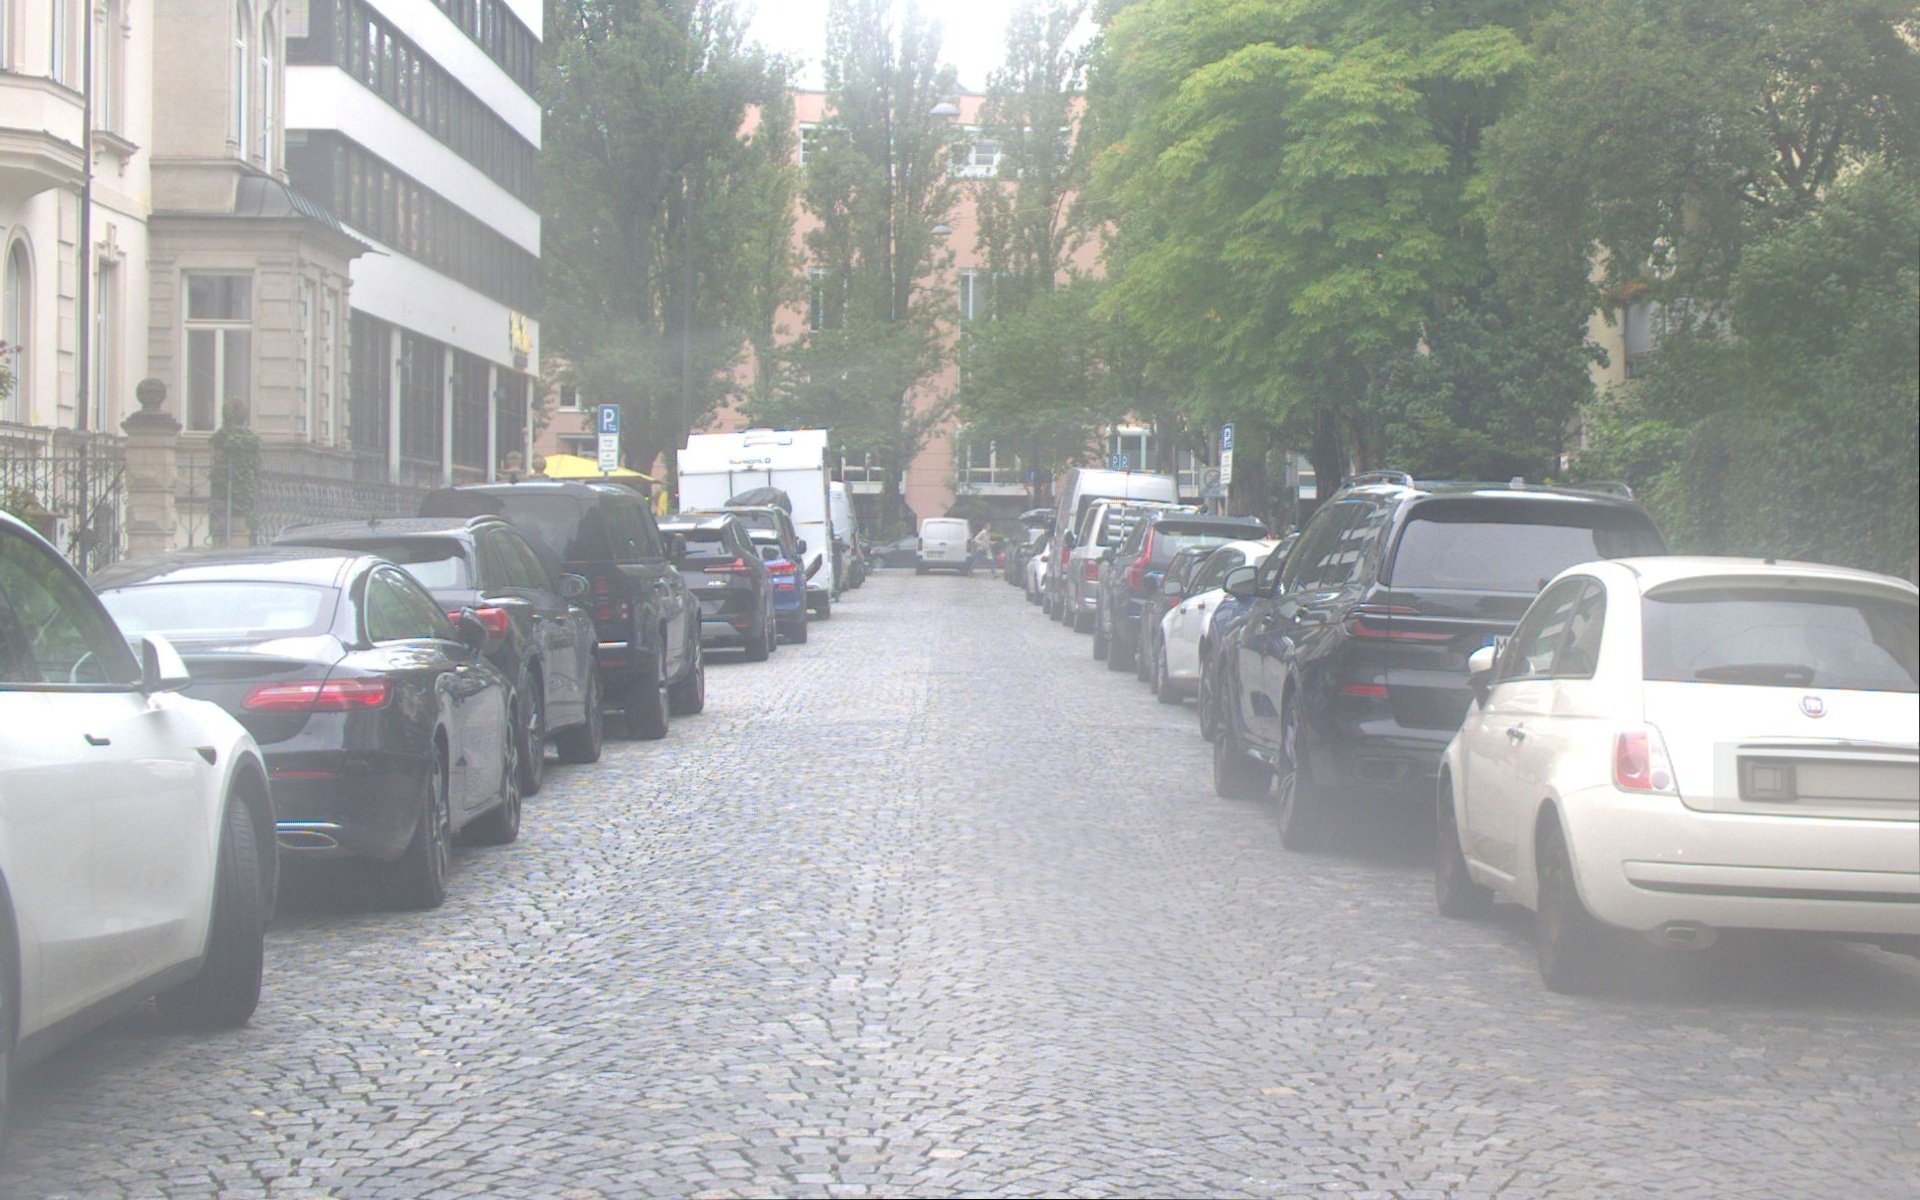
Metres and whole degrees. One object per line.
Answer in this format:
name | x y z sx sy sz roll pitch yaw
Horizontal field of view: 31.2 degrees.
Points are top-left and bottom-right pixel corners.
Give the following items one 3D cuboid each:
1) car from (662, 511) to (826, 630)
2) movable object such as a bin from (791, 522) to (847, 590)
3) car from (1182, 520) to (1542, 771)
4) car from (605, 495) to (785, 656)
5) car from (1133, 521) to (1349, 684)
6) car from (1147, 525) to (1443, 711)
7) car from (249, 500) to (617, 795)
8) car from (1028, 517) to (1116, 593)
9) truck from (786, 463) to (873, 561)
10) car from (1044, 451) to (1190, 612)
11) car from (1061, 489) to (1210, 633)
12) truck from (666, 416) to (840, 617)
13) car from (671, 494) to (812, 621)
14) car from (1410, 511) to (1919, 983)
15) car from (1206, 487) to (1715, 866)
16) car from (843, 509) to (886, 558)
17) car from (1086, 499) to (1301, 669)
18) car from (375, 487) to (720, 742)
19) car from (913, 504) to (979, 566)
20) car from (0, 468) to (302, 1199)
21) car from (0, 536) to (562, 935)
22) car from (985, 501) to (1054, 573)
car | -2.755 -0.395 44.580 1.940 1.454 4.058 1 1 -1
movable object such as a bin | -2.839 -0.891 69.496 1.064 1.359 1.290 1 1 0
car | 2.635 0.248 23.467 1.709 1.477 4.250 3 1 -3
car | -2.964 -0.299 39.237 1.773 1.712 4.391 1 1 -1
car | 2.697 -0.008 33.805 1.683 1.448 3.966 2 1 -1
car | 2.732 0.107 28.983 1.773 1.424 4.392 1 1 -4
car | -3.105 0.237 20.967 1.579 1.584 4.056 -1 1 0
car | 2.238 -0.907 69.614 1.599 1.481 3.479 1 1 -1
truck | -3.184 -2.147 84.600 1.993 2.338 4.068 1 1 0
car | 2.545 -1.172 57.110 1.895 2.418 5.612 4 2 -1
car | 2.568 -0.590 51.328 1.800 1.943 4.861 3 1 -1
truck | -3.280 -1.373 55.799 2.508 3.021 6.385 -1 2 -1
car | -3.120 -0.642 49.758 1.894 1.745 4.168 -1 1 -2
car | 2.784 0.456 12.879 1.630 1.464 3.659 3 1 0
car | 2.435 0.301 18.128 1.875 1.667 5.491 1 1 0
car | -3.057 -2.141 110.573 1.276 1.536 3.119 1 1 0
car | 2.538 -0.204 38.506 1.963 1.753 4.954 1 1 -1
car | -3.012 0.036 26.099 1.982 1.731 4.723 1 2 1
car | -0.424 -2.064 109.801 1.996 1.929 4.000 1 1 1
car | -2.968 0.506 8.509 1.773 1.642 4.391 1 1 1
car | -2.842 0.459 14.687 1.773 1.424 4.391 1 1 0
car | 1.668 -1.764 96.264 1.868 1.954 4.000 1 1 1
